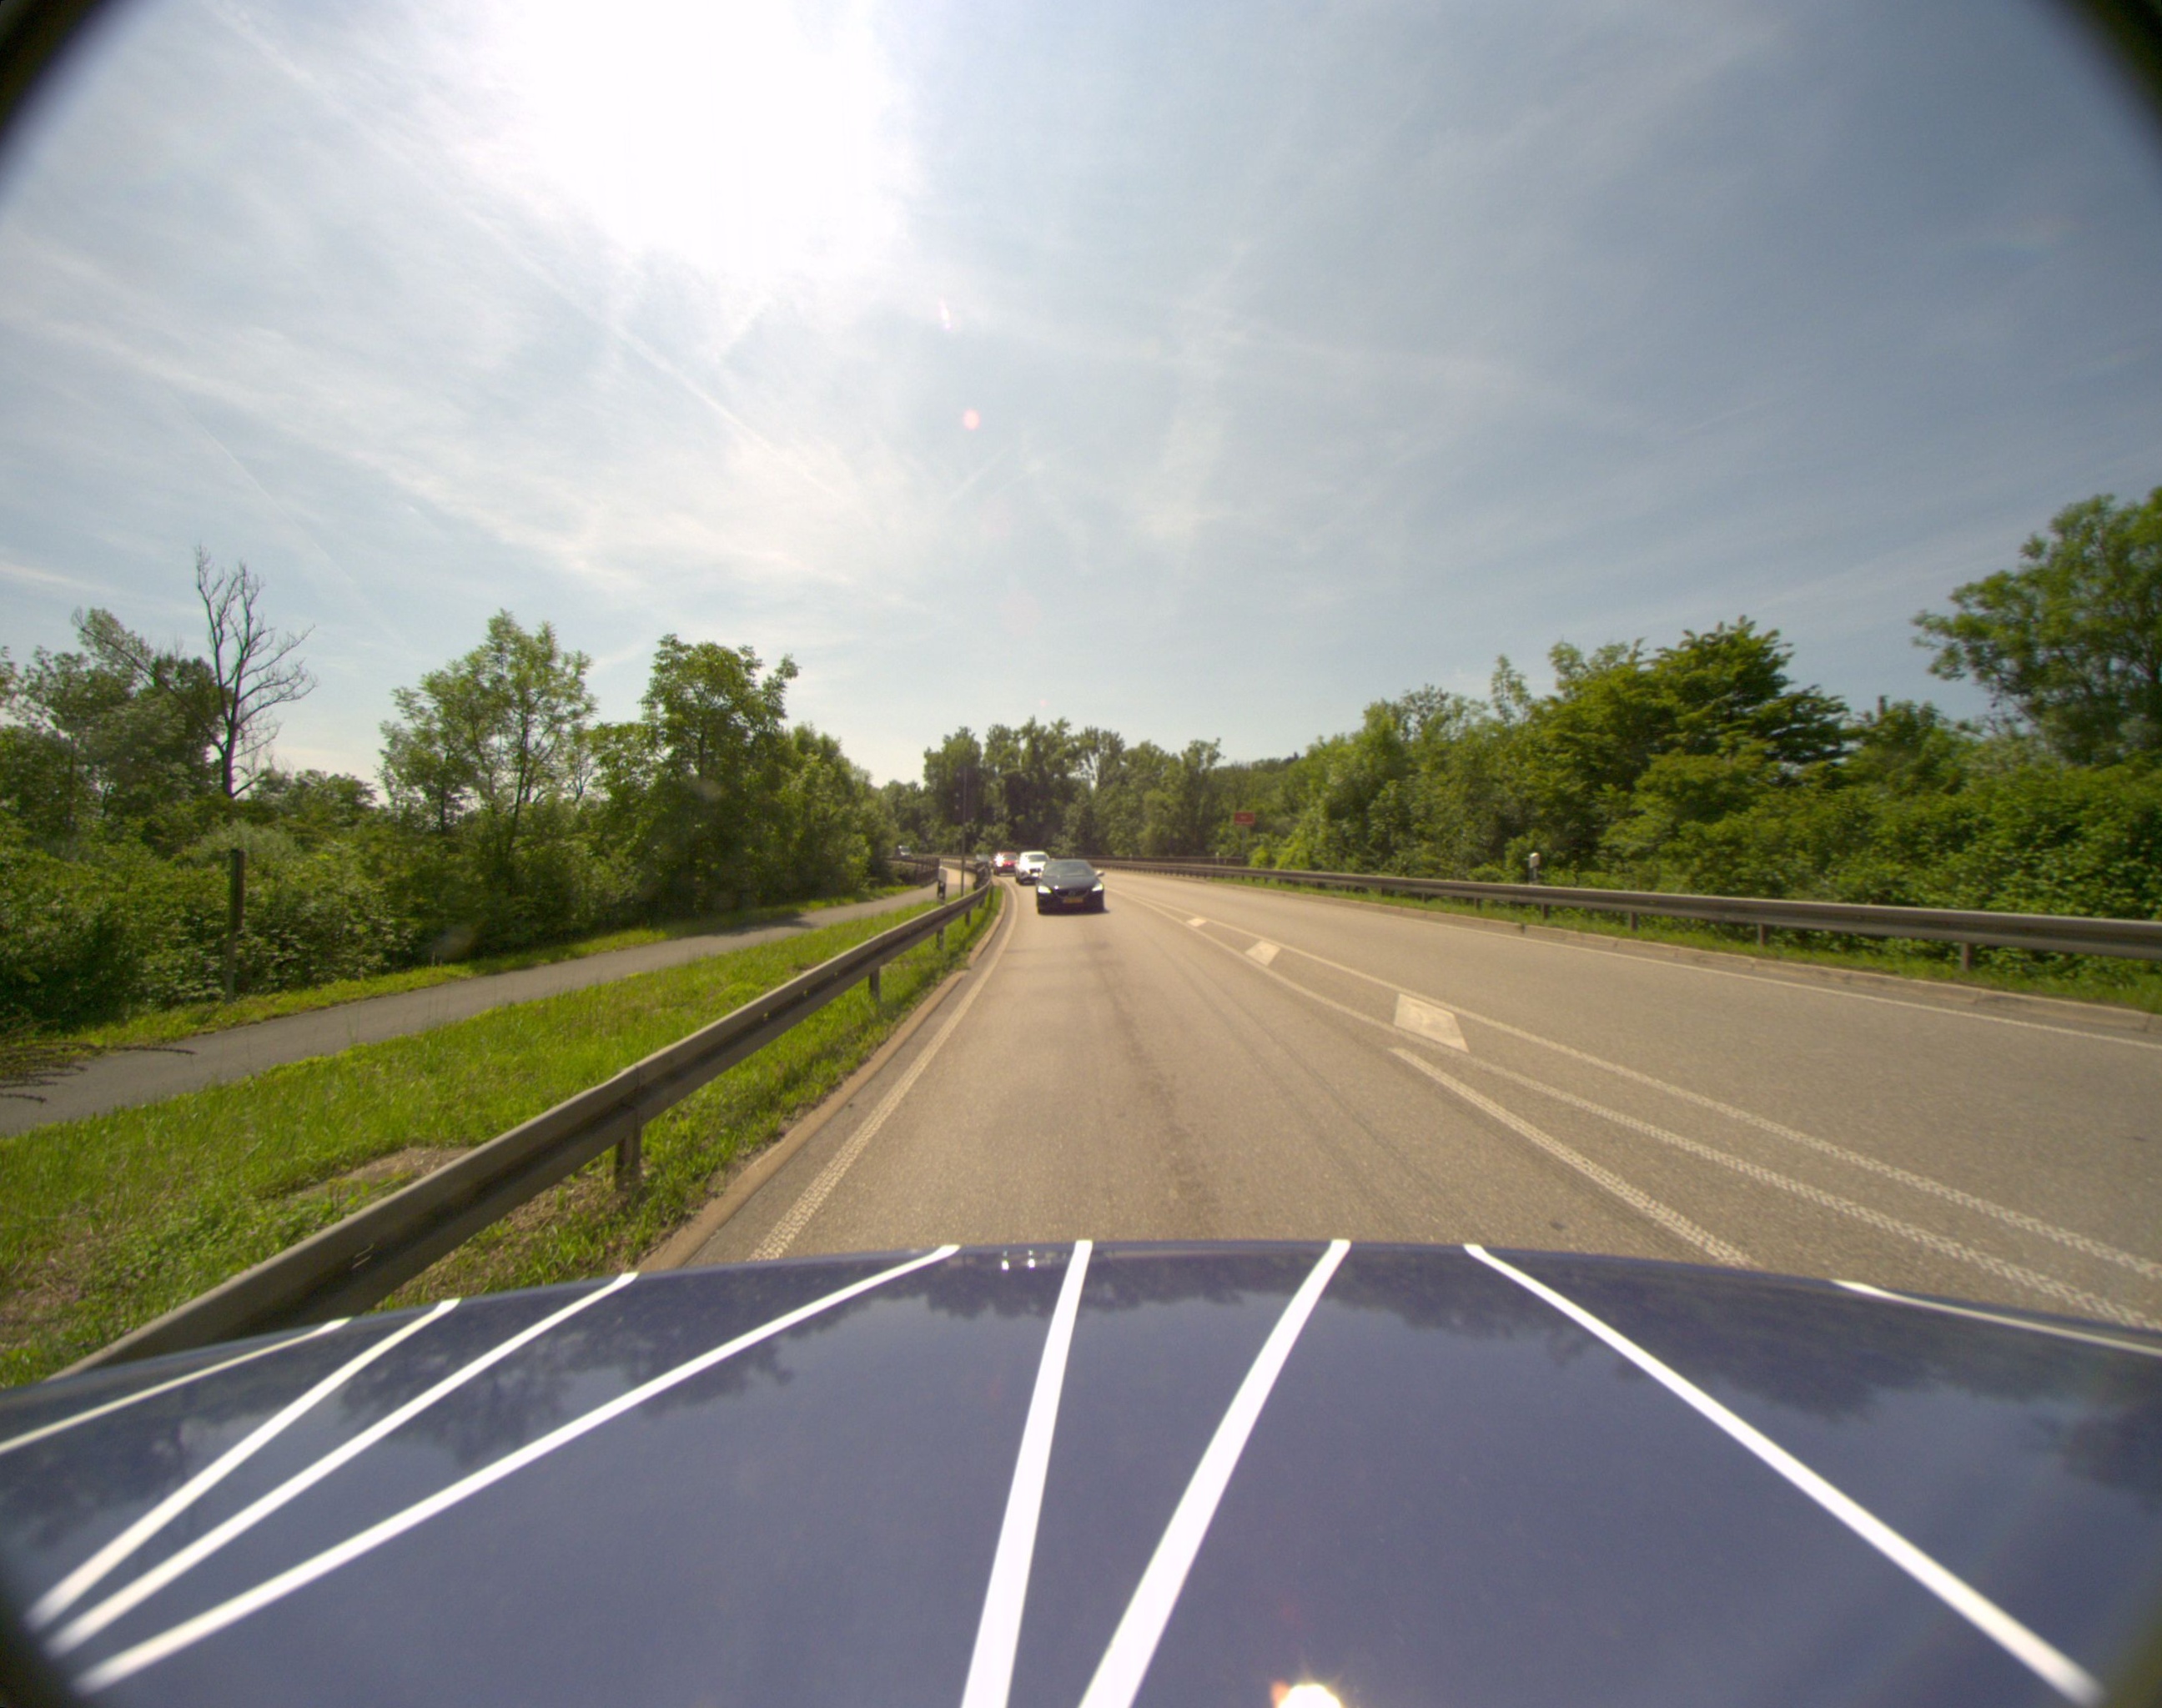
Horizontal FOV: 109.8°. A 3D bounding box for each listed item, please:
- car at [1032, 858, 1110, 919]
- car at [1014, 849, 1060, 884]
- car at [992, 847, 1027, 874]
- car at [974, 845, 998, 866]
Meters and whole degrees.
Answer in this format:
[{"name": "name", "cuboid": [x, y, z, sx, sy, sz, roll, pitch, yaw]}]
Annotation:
[{"name": "car", "cuboid": [-0.385, 0.890, 21.282, 1.910, 1.413, 3.948, -3, 1, -4]}, {"name": "car", "cuboid": [-2.360, 0.641, 39.831, 1.910, 1.638, 3.947, -3, 0, -9]}, {"name": "car", "cuboid": [-5.151, 0.463, 54.561, 2.000, 1.765, 3.996, -3, 0, -12]}, {"name": "car", "cuboid": [-9.796, 0.143, 78.173, 2.001, 2.002, 3.994, -3, 2, -13]}]
